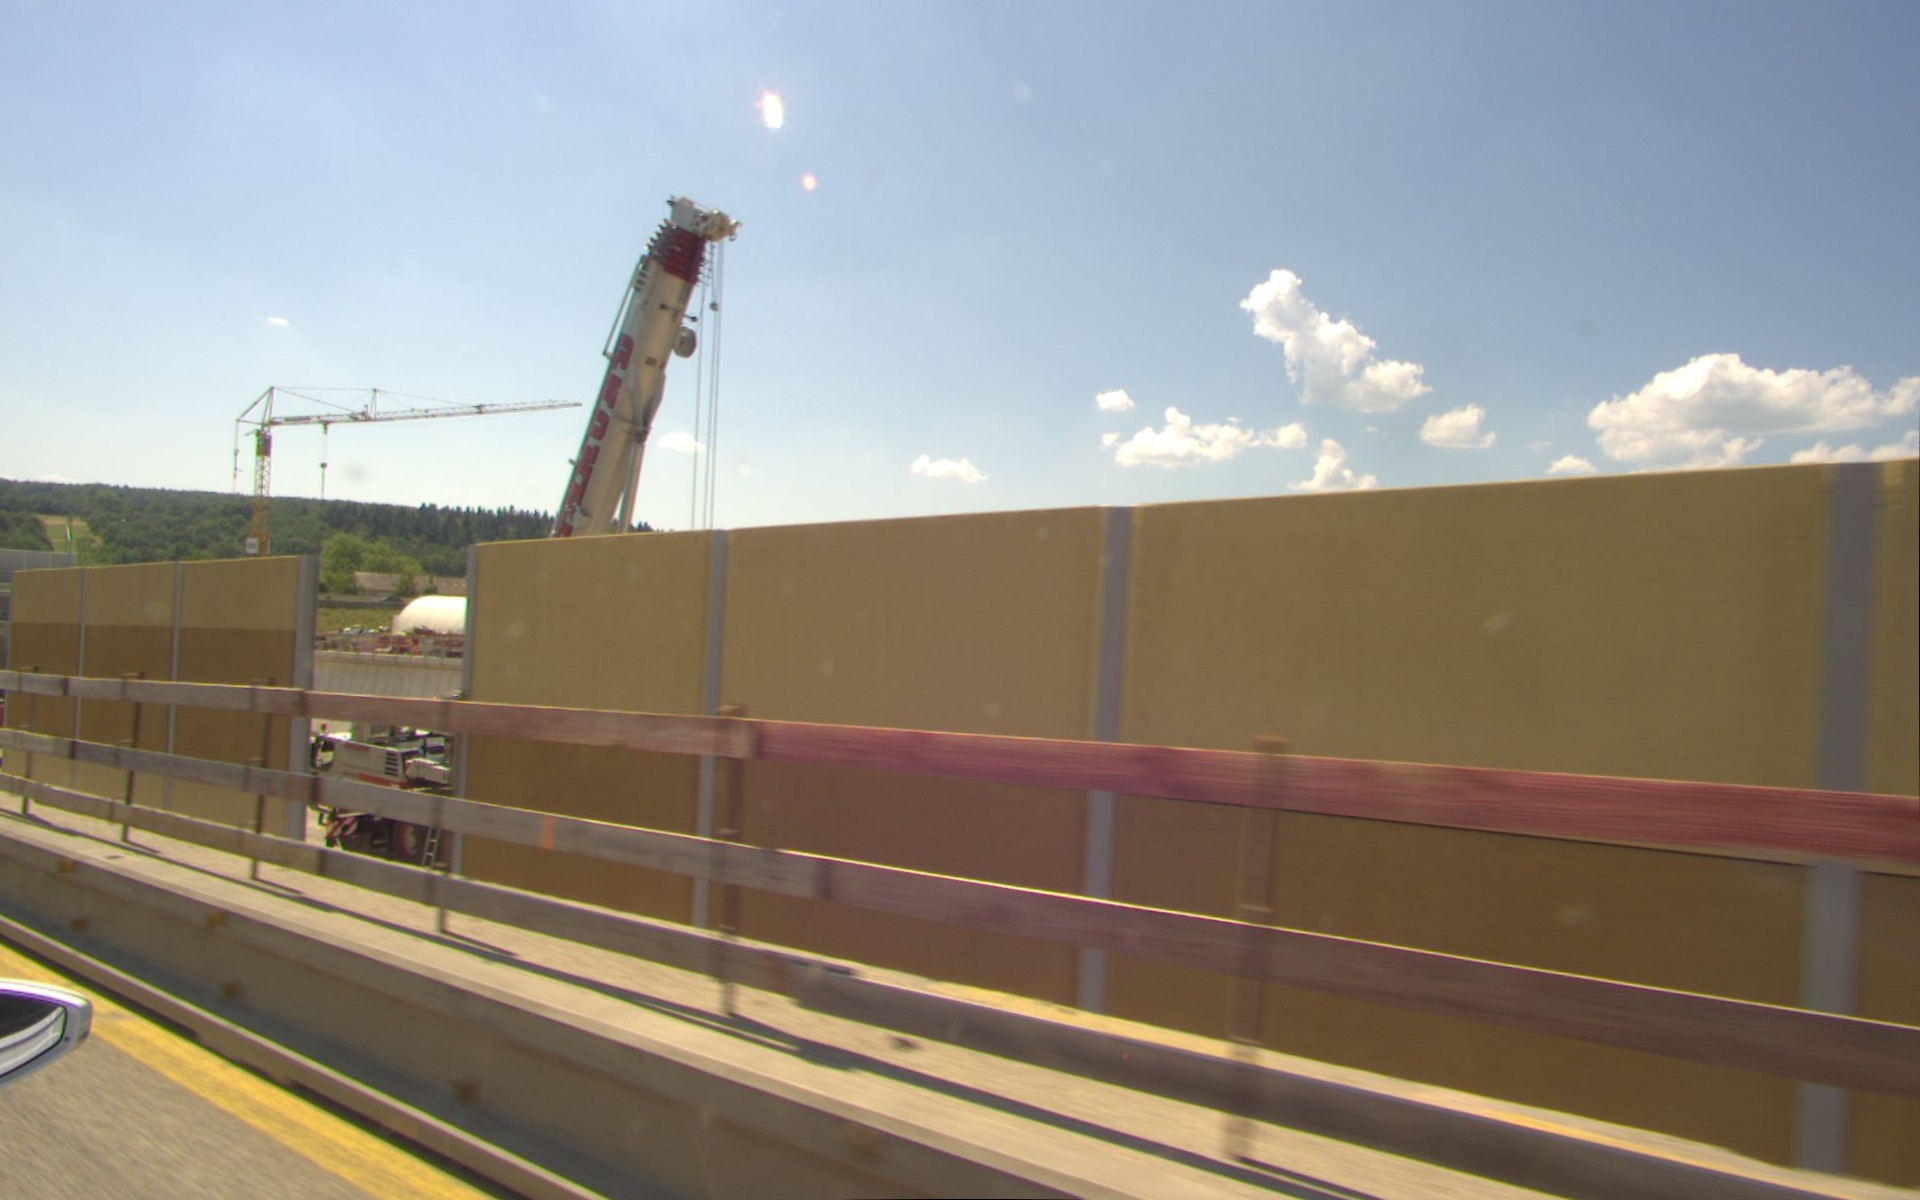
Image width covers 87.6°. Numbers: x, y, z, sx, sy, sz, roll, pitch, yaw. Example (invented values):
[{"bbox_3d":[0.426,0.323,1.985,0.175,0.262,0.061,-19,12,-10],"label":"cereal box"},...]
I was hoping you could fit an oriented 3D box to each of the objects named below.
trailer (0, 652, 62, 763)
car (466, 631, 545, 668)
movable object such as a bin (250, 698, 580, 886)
[{"bbox_3d":[-40.672,4.140,41.017,12.869,3.936,2.752,0,-2,34],"label":"trailer"},{"bbox_3d":[-26.576,2.850,58.546,4.754,2.039,1.804,0,-2,31],"label":"car"},{"bbox_3d":[-13.678,4.415,24.816,9.019,3.530,2.963,-1,-4,32],"label":"movable object such as a bin"}]
